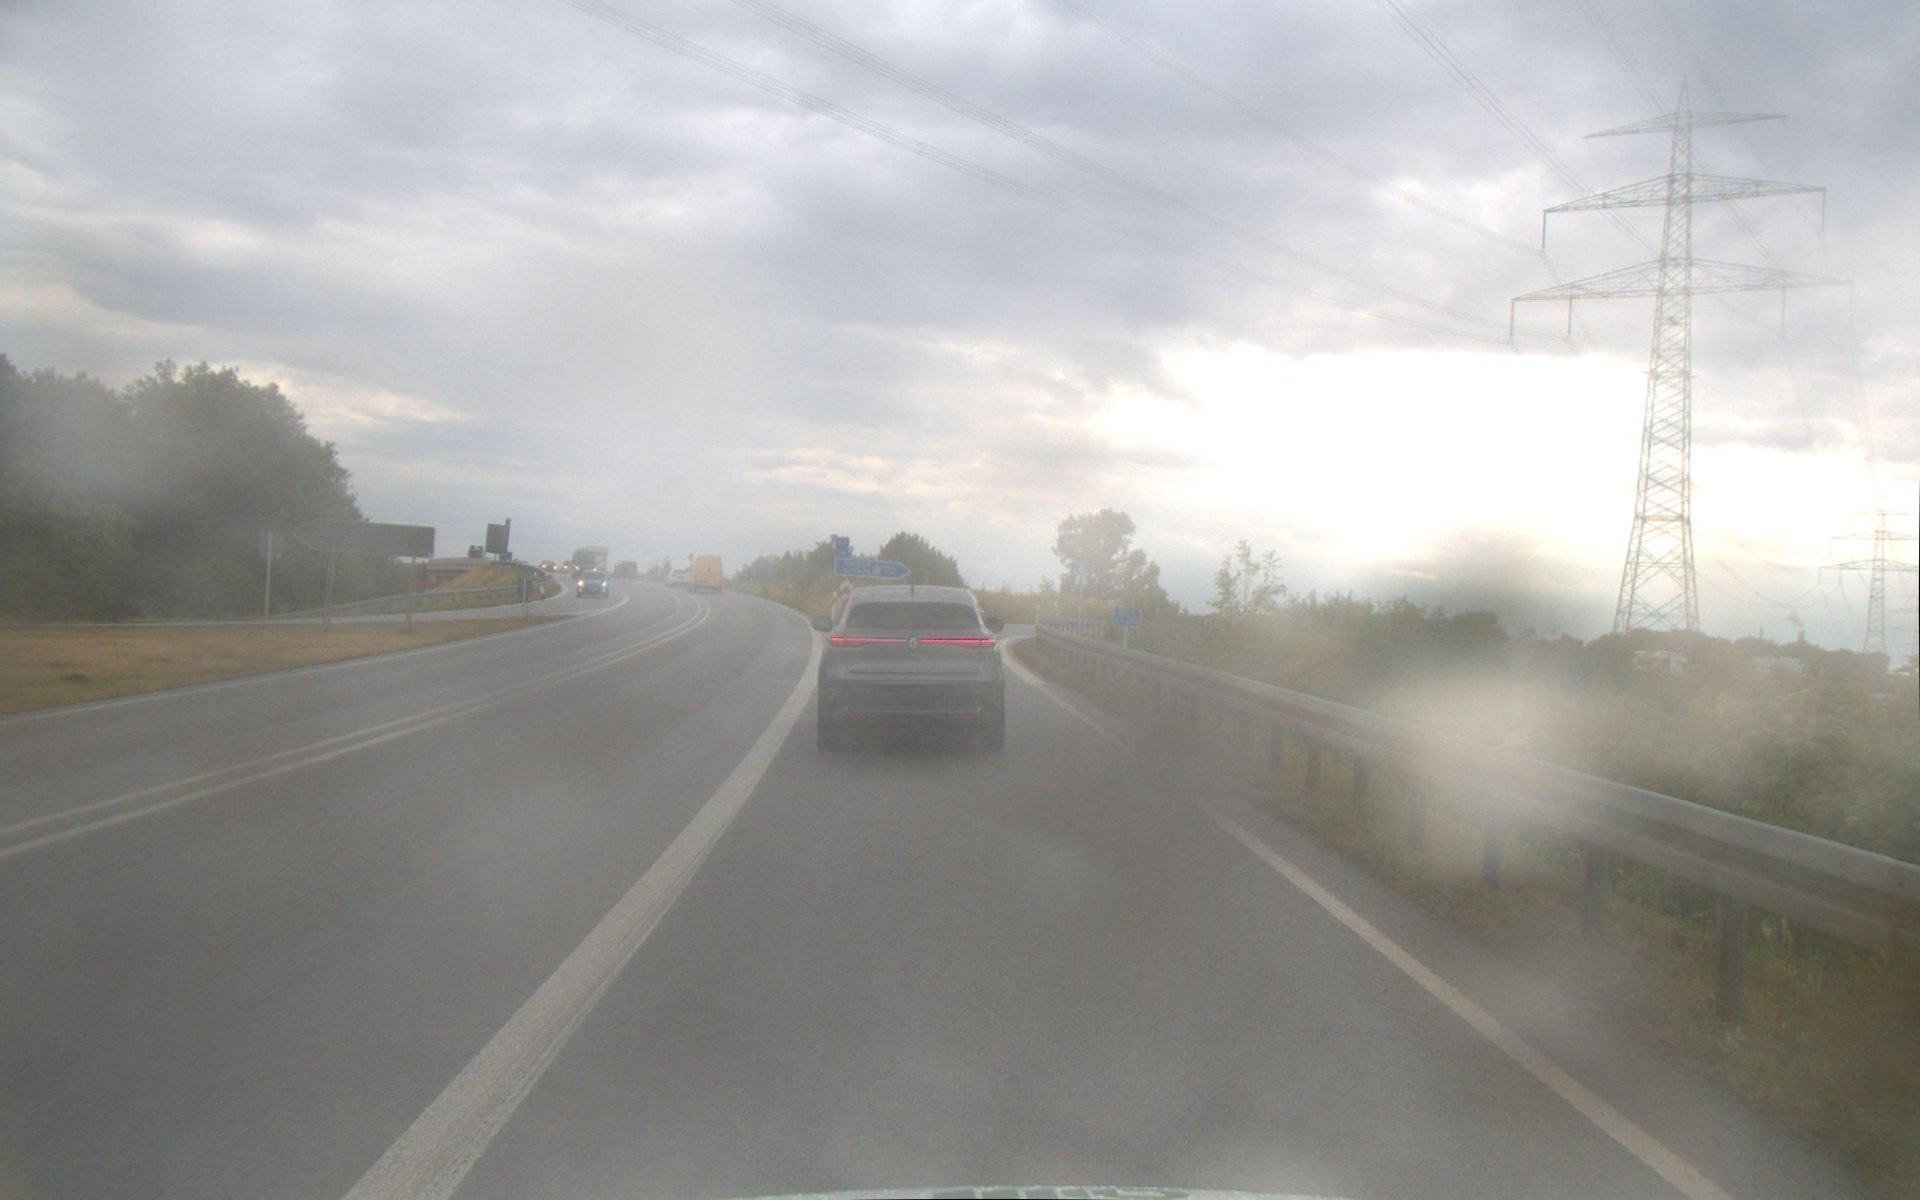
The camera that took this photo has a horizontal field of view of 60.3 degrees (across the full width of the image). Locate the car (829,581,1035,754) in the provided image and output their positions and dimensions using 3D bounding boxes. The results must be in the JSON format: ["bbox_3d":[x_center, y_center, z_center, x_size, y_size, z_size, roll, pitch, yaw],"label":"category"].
[{"bbox_3d":[-0.299,0.608,16.337,1.755,1.466,3.998,1,-1,-2],"label":"car"}]

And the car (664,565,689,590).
[{"bbox_3d":[-22.339,-1.752,130.467,1.757,1.717,3.993,2,-2,-7],"label":"car"}]

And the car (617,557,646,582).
[{"bbox_3d":[-34.105,-3.177,171.552,2.560,2.290,5.511,2,-2,-16],"label":"car"}]

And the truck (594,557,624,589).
[{"bbox_3d":[-42.354,-3.228,199.391,2.996,3.444,7.611,2,-2,-16],"label":"truck"}]

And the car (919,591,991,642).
[{"bbox_3d":[-0.117,0.555,53.870,1.754,1.466,4.003,5,-1,7],"label":"car"}]

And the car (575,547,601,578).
[{"bbox_3d":[-34.004,-3.420,151.187,2.310,2.748,6.973,0,1,-13],"label":"car"}]

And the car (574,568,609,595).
[{"bbox_3d":[-20.289,-1.006,91.114,1.713,1.389,4.039,-2,1,-11],"label":"car"}]

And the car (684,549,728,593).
[{"bbox_3d":[-17.318,-1.931,112.509,2.527,2.773,7.176,3,-1,-11],"label":"car"}]
